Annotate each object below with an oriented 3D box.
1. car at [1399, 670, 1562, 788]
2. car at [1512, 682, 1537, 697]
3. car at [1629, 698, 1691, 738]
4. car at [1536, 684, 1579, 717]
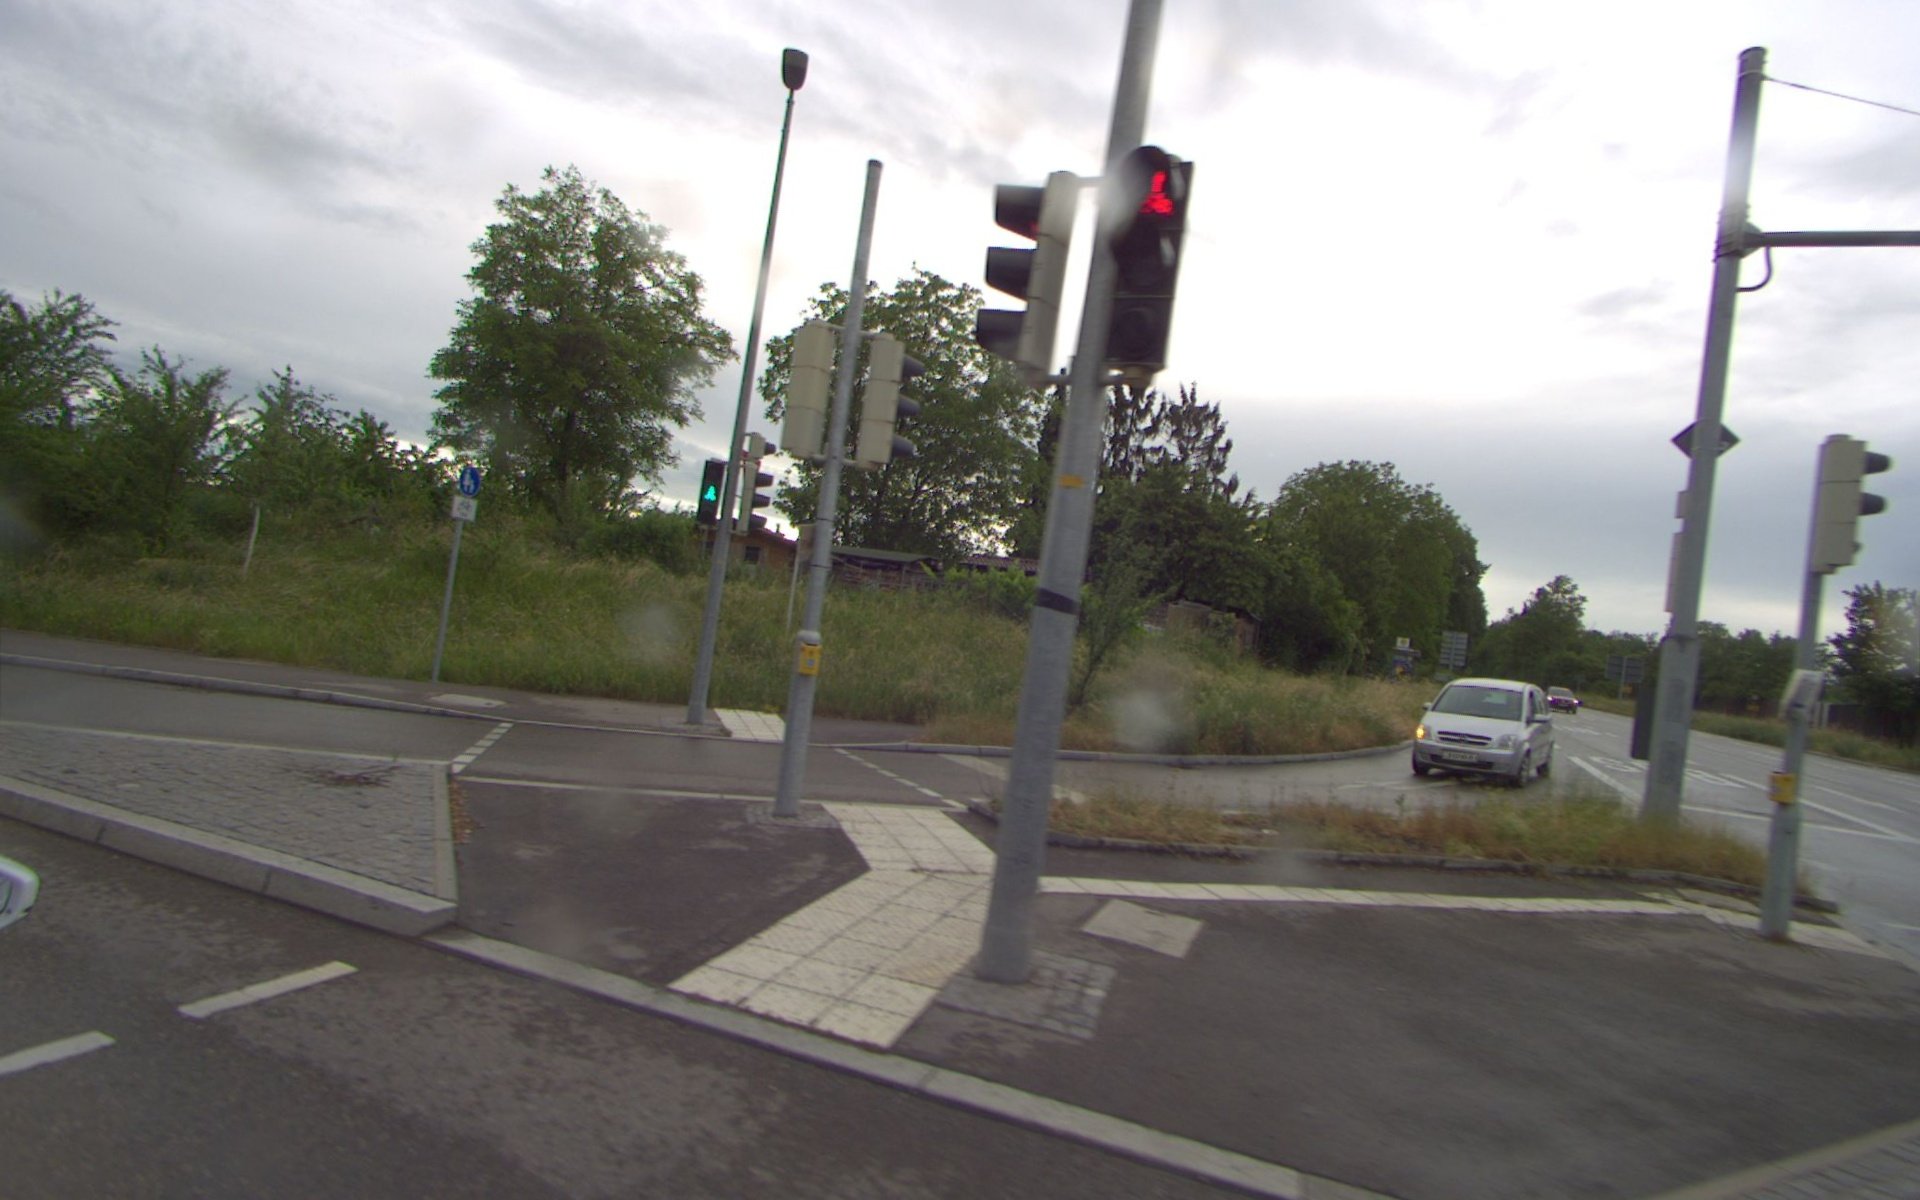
[{"bbox_3d":[9.004,2.116,17.225,1.796,1.623,4.049,3,-2,36],"label":"car"},{"bbox_3d":[65.621,10.410,117.015,1.845,1.435,3.999,8,-1,22],"label":"car"},{"bbox_3d":[36.747,6.154,52.902,1.790,1.694,3.999,8,-1,24],"label":"car"},{"bbox_3d":[38.177,6.393,64.346,1.790,1.694,4.008,8,-1,25],"label":"car"}]
